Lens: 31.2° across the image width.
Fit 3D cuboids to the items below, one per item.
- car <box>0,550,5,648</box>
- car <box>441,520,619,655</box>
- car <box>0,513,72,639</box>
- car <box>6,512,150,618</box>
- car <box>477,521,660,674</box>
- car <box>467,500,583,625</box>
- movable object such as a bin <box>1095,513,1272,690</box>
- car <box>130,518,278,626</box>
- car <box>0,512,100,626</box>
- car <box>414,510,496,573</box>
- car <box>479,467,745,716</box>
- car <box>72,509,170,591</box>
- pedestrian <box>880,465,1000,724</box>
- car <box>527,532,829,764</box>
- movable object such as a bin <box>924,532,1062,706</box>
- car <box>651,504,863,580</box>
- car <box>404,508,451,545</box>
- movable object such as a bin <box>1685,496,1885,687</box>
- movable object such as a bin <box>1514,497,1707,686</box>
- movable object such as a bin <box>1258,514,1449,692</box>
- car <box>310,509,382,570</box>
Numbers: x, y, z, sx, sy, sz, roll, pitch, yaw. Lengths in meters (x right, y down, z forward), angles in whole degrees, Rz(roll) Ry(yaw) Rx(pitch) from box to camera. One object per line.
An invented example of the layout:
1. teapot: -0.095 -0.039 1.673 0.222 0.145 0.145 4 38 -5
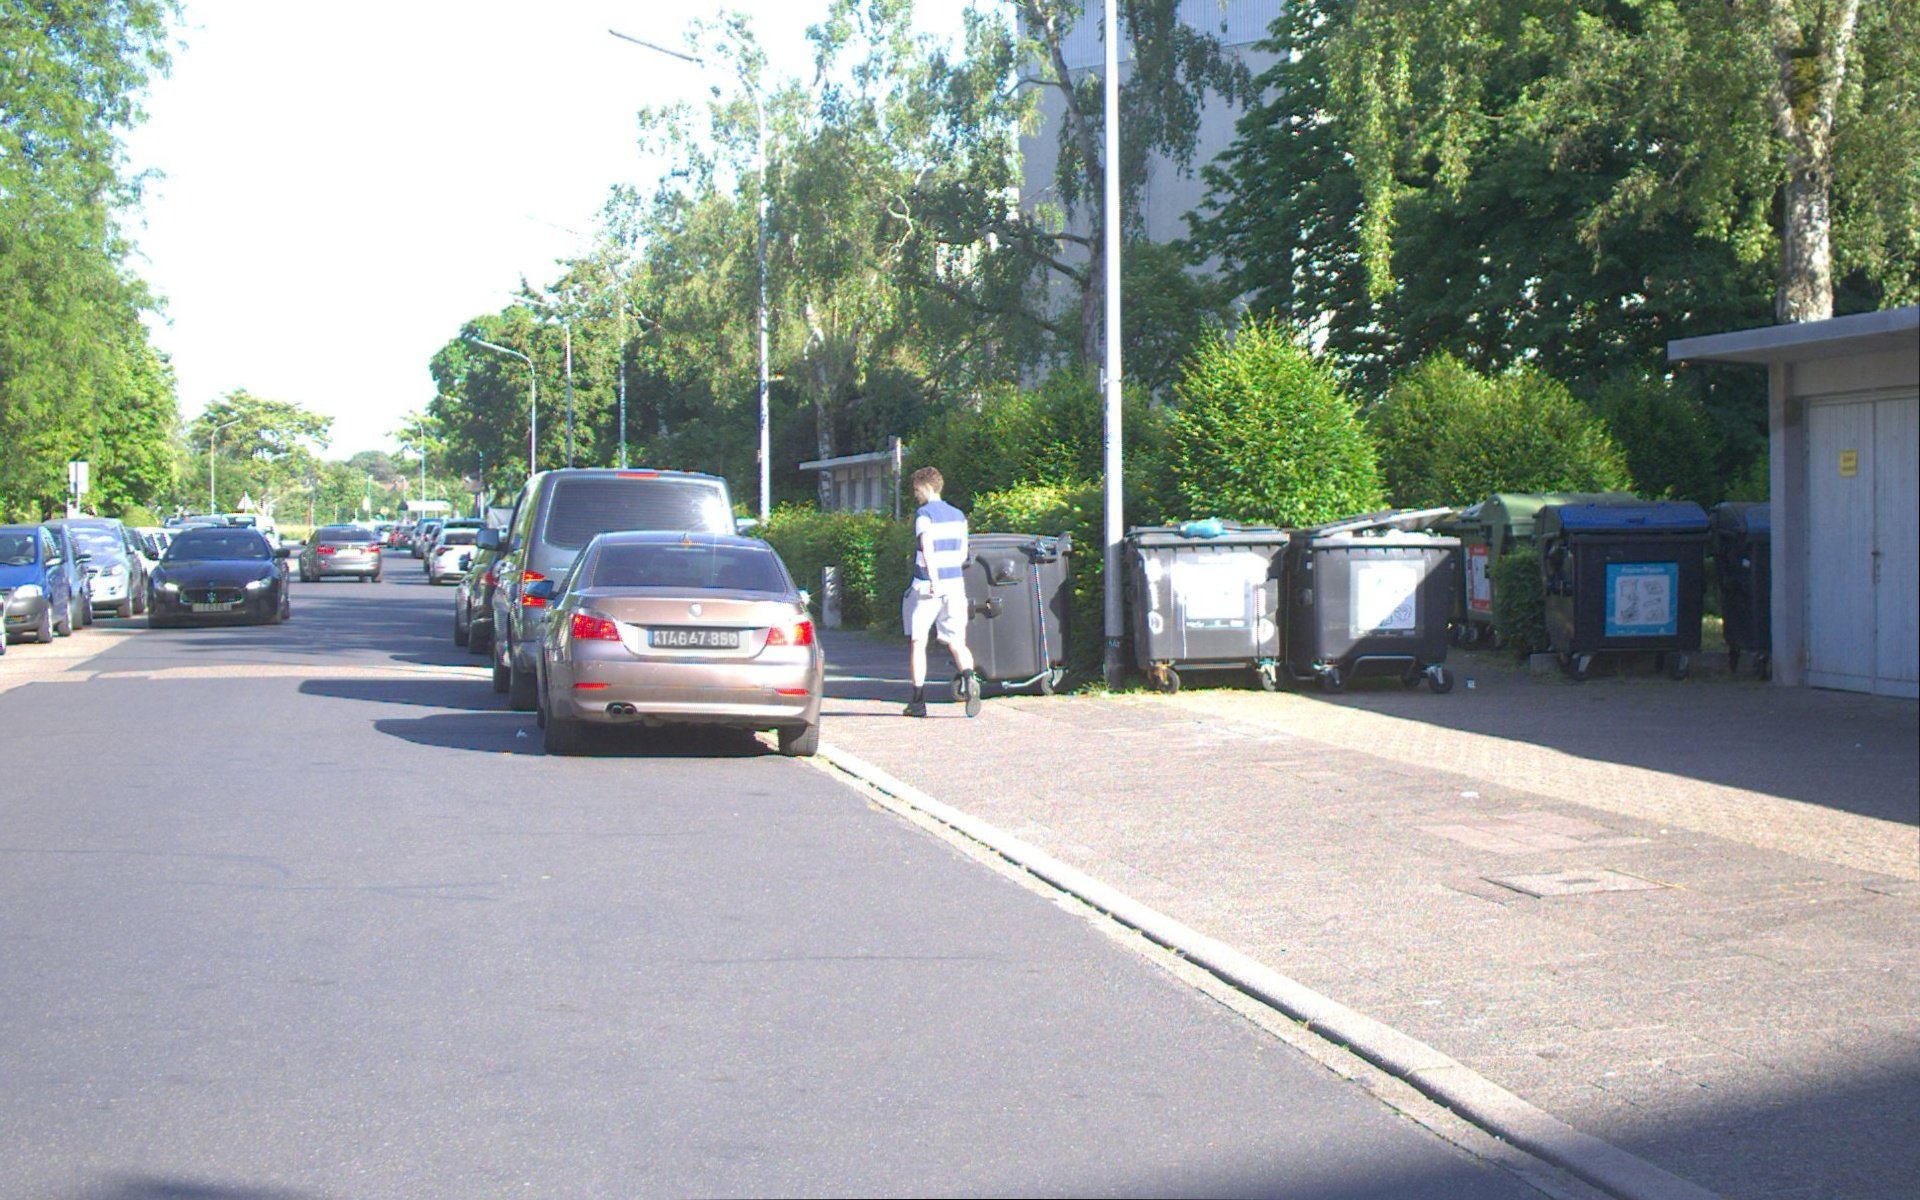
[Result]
1. car: -12.239 -0.138 40.729 1.444 1.568 3.143 -3 2 -11
2. car: -5.262 -0.201 41.674 1.731 1.484 4.503 -2 2 -12
3. car: -13.071 -0.329 46.197 1.754 1.600 3.970 -3 2 -9
4. car: -14.521 -0.616 56.811 1.902 1.634 4.350 -2 2 -10
5. car: -4.156 -0.070 36.080 1.622 1.484 4.037 1 1 -10
6. car: -6.205 -0.545 48.842 1.488 1.712 2.584 1 1 -10
7. movable object such as a bin: 1.765 -0.003 27.380 1.223 1.360 1.133 -1 1 -6
8. car: -11.166 -0.455 50.990 1.910 1.471 4.572 -1 2 -10
9. car: -13.761 -0.482 51.120 1.635 1.600 3.536 -2 2 -11
10. car: -12.742 -1.482 86.595 1.753 1.508 4.106 1 1 -12
11. car: -3.042 -0.121 29.208 1.852 1.927 4.706 1 1 -10
12. car: -16.256 -0.984 66.518 1.662 1.508 3.539 -2 2 -16
13. pedestrian: -0.155 -0.052 25.903 0.703 1.882 0.873 -3 2 -8
14. car: -2.044 0.257 23.734 1.800 1.414 4.637 0 1 -8
15. movable object such as a bin: 0.269 0.137 28.145 1.026 1.305 1.387 -4 2 1
16. car: -4.430 -1.274 74.844 4.414 1.508 1.829 -2 2 -9
17. car: -22.926 -3.166 147.992 1.795 1.556 3.953 0 1 -12
18. movable object such as a bin: 6.785 -0.086 28.353 1.276 1.460 1.133 -1 5 -6
19. movable object such as a bin: 5.369 -0.086 28.461 1.276 1.460 1.133 -1 5 -6
20. movable object such as a bin: 3.103 0.011 27.200 1.276 1.360 1.133 -1 1 -6
21. car: -15.788 -1.570 88.283 1.679 1.508 4.106 1 1 -12
